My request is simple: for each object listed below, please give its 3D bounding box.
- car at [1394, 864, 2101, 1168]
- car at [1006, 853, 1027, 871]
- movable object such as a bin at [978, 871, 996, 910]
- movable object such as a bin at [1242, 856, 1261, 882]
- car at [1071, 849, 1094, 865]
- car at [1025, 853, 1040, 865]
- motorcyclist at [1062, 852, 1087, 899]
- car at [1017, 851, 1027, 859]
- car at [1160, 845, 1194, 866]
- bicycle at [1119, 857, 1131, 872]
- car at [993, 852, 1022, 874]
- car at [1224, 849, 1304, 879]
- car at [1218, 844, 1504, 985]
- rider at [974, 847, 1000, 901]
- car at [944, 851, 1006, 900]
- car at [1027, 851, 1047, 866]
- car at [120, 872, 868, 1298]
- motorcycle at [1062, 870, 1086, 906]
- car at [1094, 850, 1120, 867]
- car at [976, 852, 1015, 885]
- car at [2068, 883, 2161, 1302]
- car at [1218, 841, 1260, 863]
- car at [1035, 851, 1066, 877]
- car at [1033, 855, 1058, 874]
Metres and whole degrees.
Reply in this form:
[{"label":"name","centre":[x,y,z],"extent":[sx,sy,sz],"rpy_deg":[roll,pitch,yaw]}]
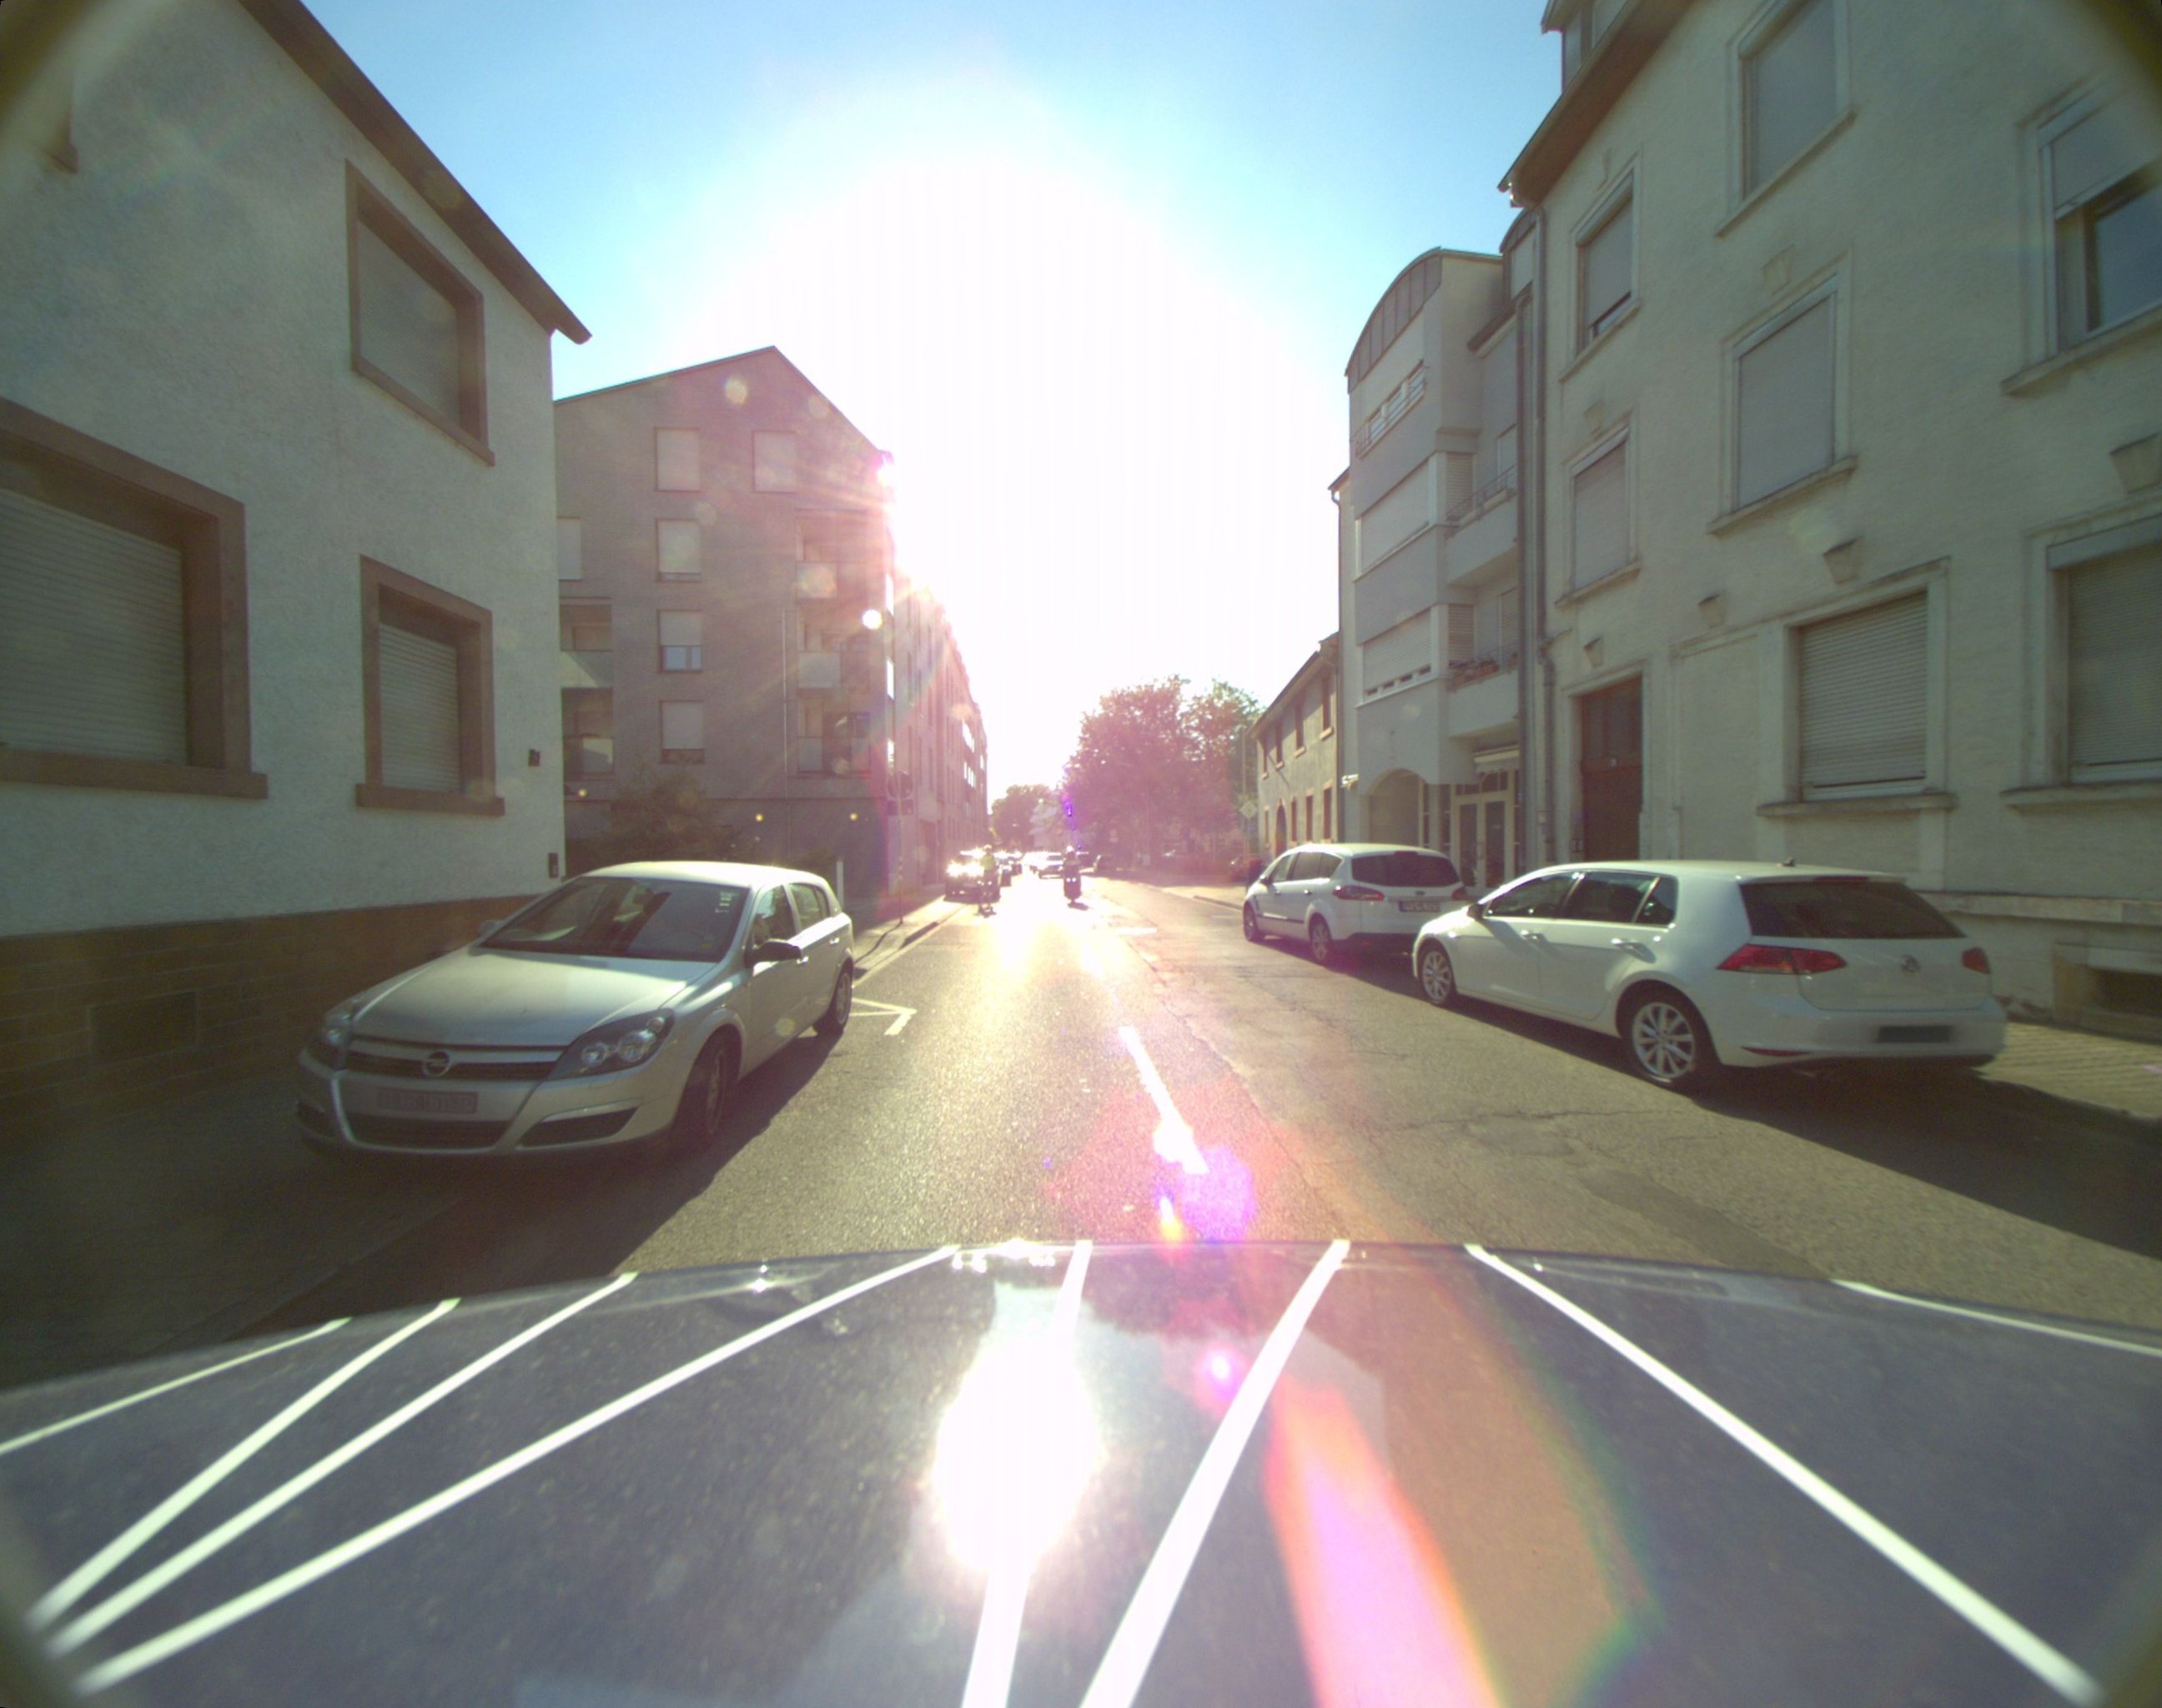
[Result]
[{"label":"car","centre":[4.385,0.860,6.042],"extent":[1.770,1.487,4.124],"rpy_deg":[0,0,-6]},{"label":"car","centre":[-5.820,0.680,68.037],"extent":[1.822,1.458,4.267],"rpy_deg":[0,1,-6]},{"label":"movable object such as a bin","centre":[-2.857,1.095,23.235],"extent":[0.456,1.027,1.839],"rpy_deg":[-3,2,-6]},{"label":"movable object such as a bin","centre":[7.437,0.637,33.186],"extent":[0.600,1.088,0.751],"rpy_deg":[-1,1,-3]},{"label":"car","centre":[0.146,0.309,85.880],"extent":[1.937,1.695,5.097],"rpy_deg":[-3,1,-6]},{"label":"car","centre":[-6.212,0.670,96.772],"extent":[1.822,1.458,4.267],"rpy_deg":[0,1,-6]},{"label":"motorcyclist","centre":[-0.197,0.643,23.529],"extent":[0.718,1.424,0.746],"rpy_deg":[0,1,-6]},{"label":"car","centre":[-12.281,0.120,157.749],"extent":[2.000,1.666,3.997],"rpy_deg":[-1,0,-8]},{"label":"car","centre":[8.698,0.144,69.502],"extent":[1.849,1.884,4.902],"rpy_deg":[-1,0,-8]},{"label":"bicycle","centre":[3.039,0.717,52.864],"extent":[0.705,0.997,1.941],"rpy_deg":[-1,1,-1]},{"label":"car","centre":[-5.925,0.708,62.027],"extent":[1.894,1.702,4.773],"rpy_deg":[0,0,0]},{"label":"car","centre":[9.758,0.532,40.744],"extent":[3.778,1.521,1.999],"rpy_deg":[1,0,-3]},{"label":"car","centre":[3.855,0.710,11.715],"extent":[2.000,1.638,5.218],"rpy_deg":[-1,0,-6]},{"label":"rider","centre":[-2.852,0.587,23.156],"extent":[0.655,1.553,1.082],"rpy_deg":[-3,2,-6]},{"label":"car","centre":[-3.867,0.755,28.496],"extent":[1.860,1.626,4.621],"rpy_deg":[2,0,-3]},{"label":"car","centre":[-4.379,0.413,75.804],"extent":[1.822,1.458,4.267],"rpy_deg":[0,1,-6]},{"label":"car","centre":[-2.859,0.951,5.134],"extent":[1.746,1.483,4.437],"rpy_deg":[1,0,-3]},{"label":"motorcycle","centre":[-0.228,1.034,23.705],"extent":[0.599,1.004,1.820],"rpy_deg":[0,1,-6]},{"label":"car","centre":[2.261,0.385,66.883],"extent":[1.702,1.483,3.997],"rpy_deg":[0,1,-6]},{"label":"car","centre":[-4.654,0.751,41.380],"extent":[2.000,1.643,4.760],"rpy_deg":[0,0,-6]},{"label":"car","centre":[4.870,0.887,1.164],"extent":[1.665,1.517,3.807],"rpy_deg":[0,0,-3]},{"label":"car","centre":[14.616,-0.176,70.463],"extent":[2.025,1.937,4.317],"rpy_deg":[-1,1,-16]},{"label":"car","centre":[-2.081,0.651,50.994],"extent":[1.709,1.570,3.912],"rpy_deg":[-2,1,-8]},{"label":"car","centre":[-2.949,0.855,62.528],"extent":[1.822,1.458,4.267],"rpy_deg":[0,1,-6]}]
